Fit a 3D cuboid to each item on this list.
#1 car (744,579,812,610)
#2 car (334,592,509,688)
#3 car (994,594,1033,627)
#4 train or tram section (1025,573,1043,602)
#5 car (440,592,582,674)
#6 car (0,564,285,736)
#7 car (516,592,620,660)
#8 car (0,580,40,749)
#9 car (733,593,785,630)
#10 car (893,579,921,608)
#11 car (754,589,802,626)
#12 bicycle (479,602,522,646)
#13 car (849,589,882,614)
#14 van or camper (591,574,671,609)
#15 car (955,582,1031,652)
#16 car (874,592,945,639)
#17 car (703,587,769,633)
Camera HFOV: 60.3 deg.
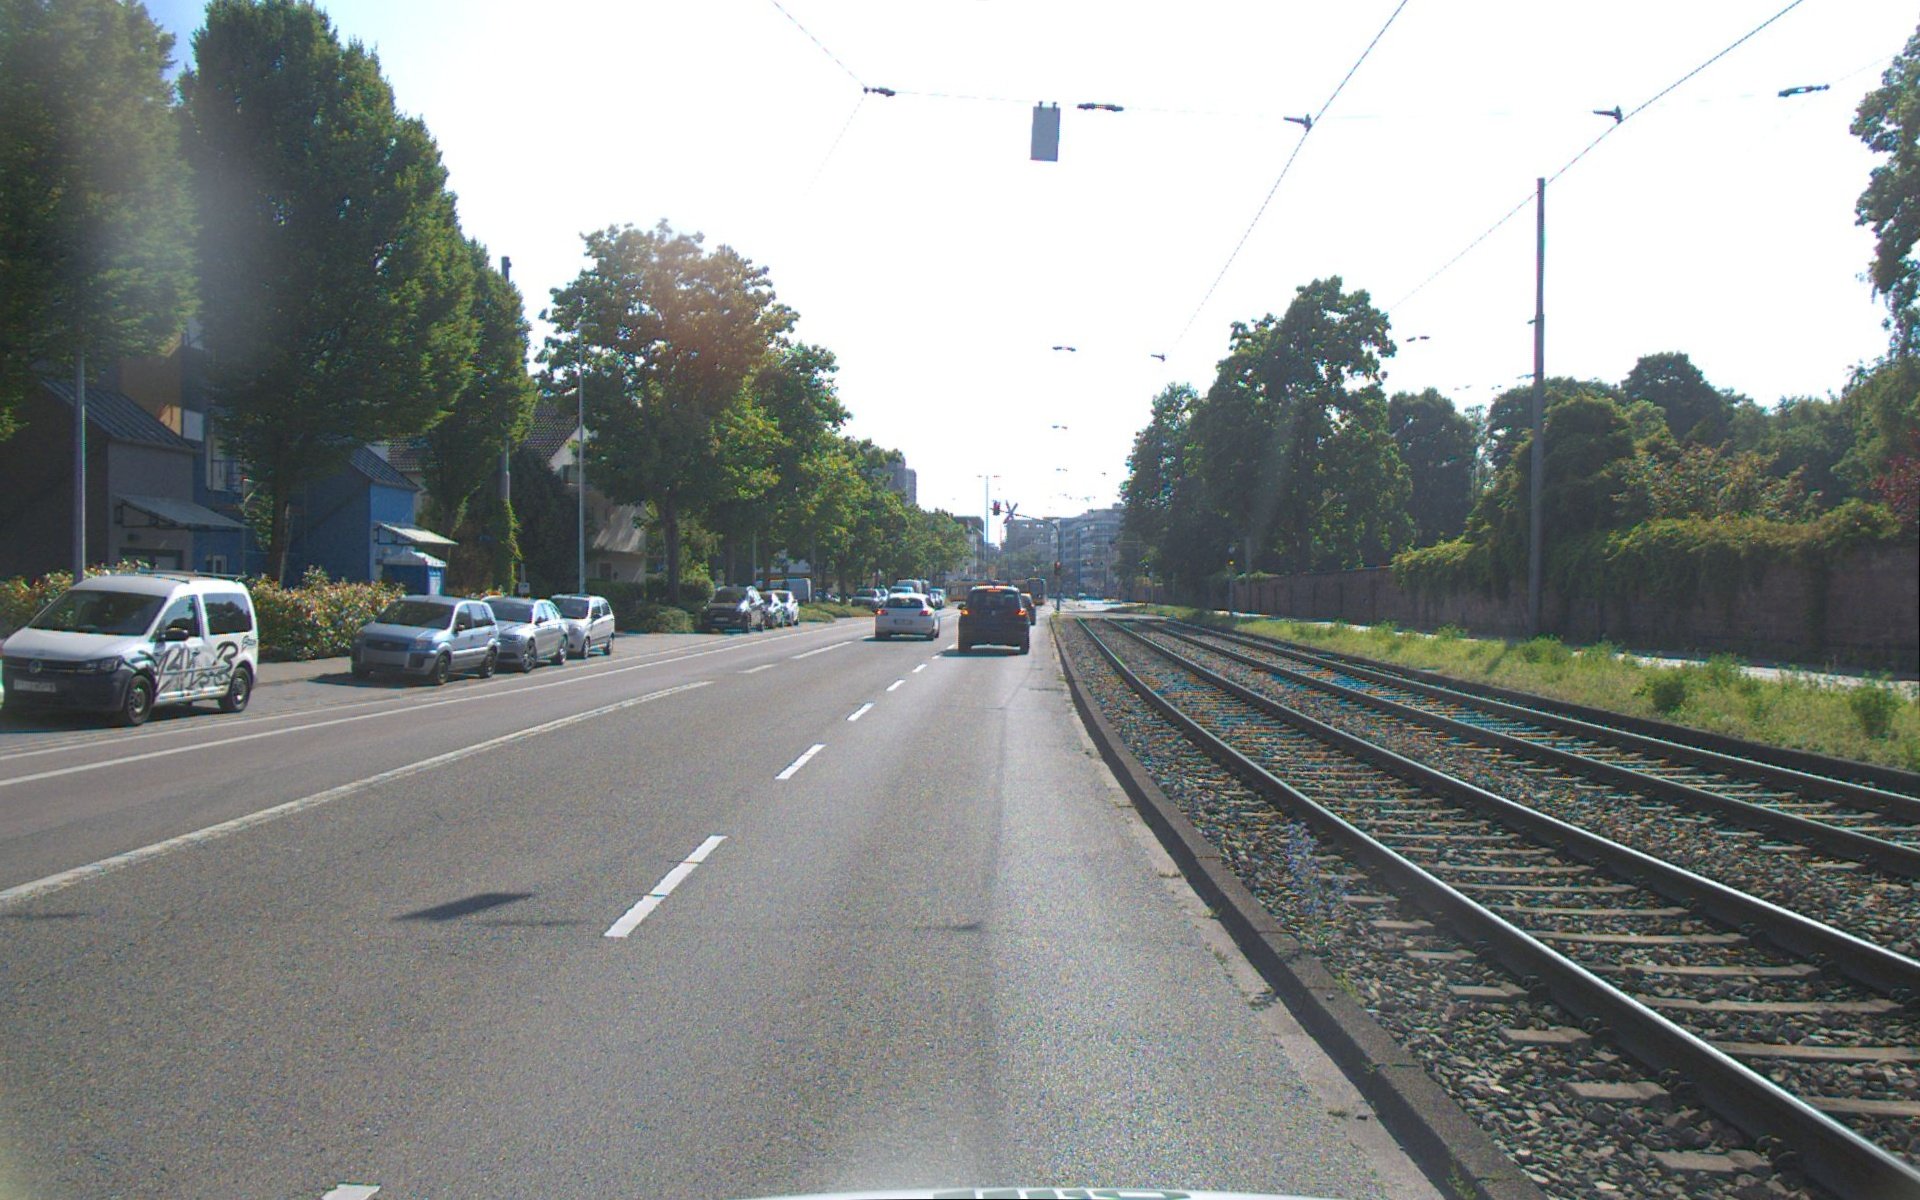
[{"bbox_3d":[-14.879,-0.466,135.453,5.263,2.466,2.088,0,0,3],"label":"car"},{"bbox_3d":[-10.132,0.703,31.422,1.726,1.565,3.983,5,0,3],"label":"car"},{"bbox_3d":[2.548,0.479,78.249,1.773,1.474,4.002,2,0,3],"label":"car"},{"bbox_3d":[9.849,-1.649,218.418,2.278,3.632,8.904,0,0,3],"label":"train or tram section"},{"bbox_3d":[-9.779,0.674,36.425,1.713,1.537,4.756,4,0,0],"label":"car"},{"bbox_3d":[-10.707,0.561,21.549,1.727,1.877,4.581,5,0,1],"label":"car"},{"bbox_3d":[-9.858,0.629,41.815,1.568,1.520,3.510,4,0,2],"label":"car"},{"bbox_3d":[-10.799,0.650,15.320,1.633,1.730,4.826,2,0,3],"label":"car"},{"bbox_3d":[-8.346,0.467,69.015,1.642,1.494,3.969,0,0,1],"label":"car"},{"bbox_3d":[-4.531,-0.555,141.737,1.824,2.388,4.988,0,0,4],"label":"car"},{"bbox_3d":[-8.189,0.329,74.738,1.567,1.577,3.895,2,0,2],"label":"car"},{"bbox_3d":[-12.630,0.646,45.510,0.434,1.174,1.786,0,0,9],"label":"bicycle"},{"bbox_3d":[-6.407,0.087,111.926,1.695,1.687,4.002,0,0,4],"label":"car"},{"bbox_3d":[-27.993,-0.698,140.819,6.328,2.918,2.308,0,0,4],"label":"van or camper"},{"bbox_3d":[0.895,0.422,42.282,1.773,1.673,4.002,1,0,3],"label":"car"},{"bbox_3d":[-1.520,0.448,50.698,1.826,1.371,4.002,1,0,3],"label":"car"},{"bbox_3d":[-8.534,0.357,63.311,1.676,1.723,4.424,0,0,3],"label":"car"}]
